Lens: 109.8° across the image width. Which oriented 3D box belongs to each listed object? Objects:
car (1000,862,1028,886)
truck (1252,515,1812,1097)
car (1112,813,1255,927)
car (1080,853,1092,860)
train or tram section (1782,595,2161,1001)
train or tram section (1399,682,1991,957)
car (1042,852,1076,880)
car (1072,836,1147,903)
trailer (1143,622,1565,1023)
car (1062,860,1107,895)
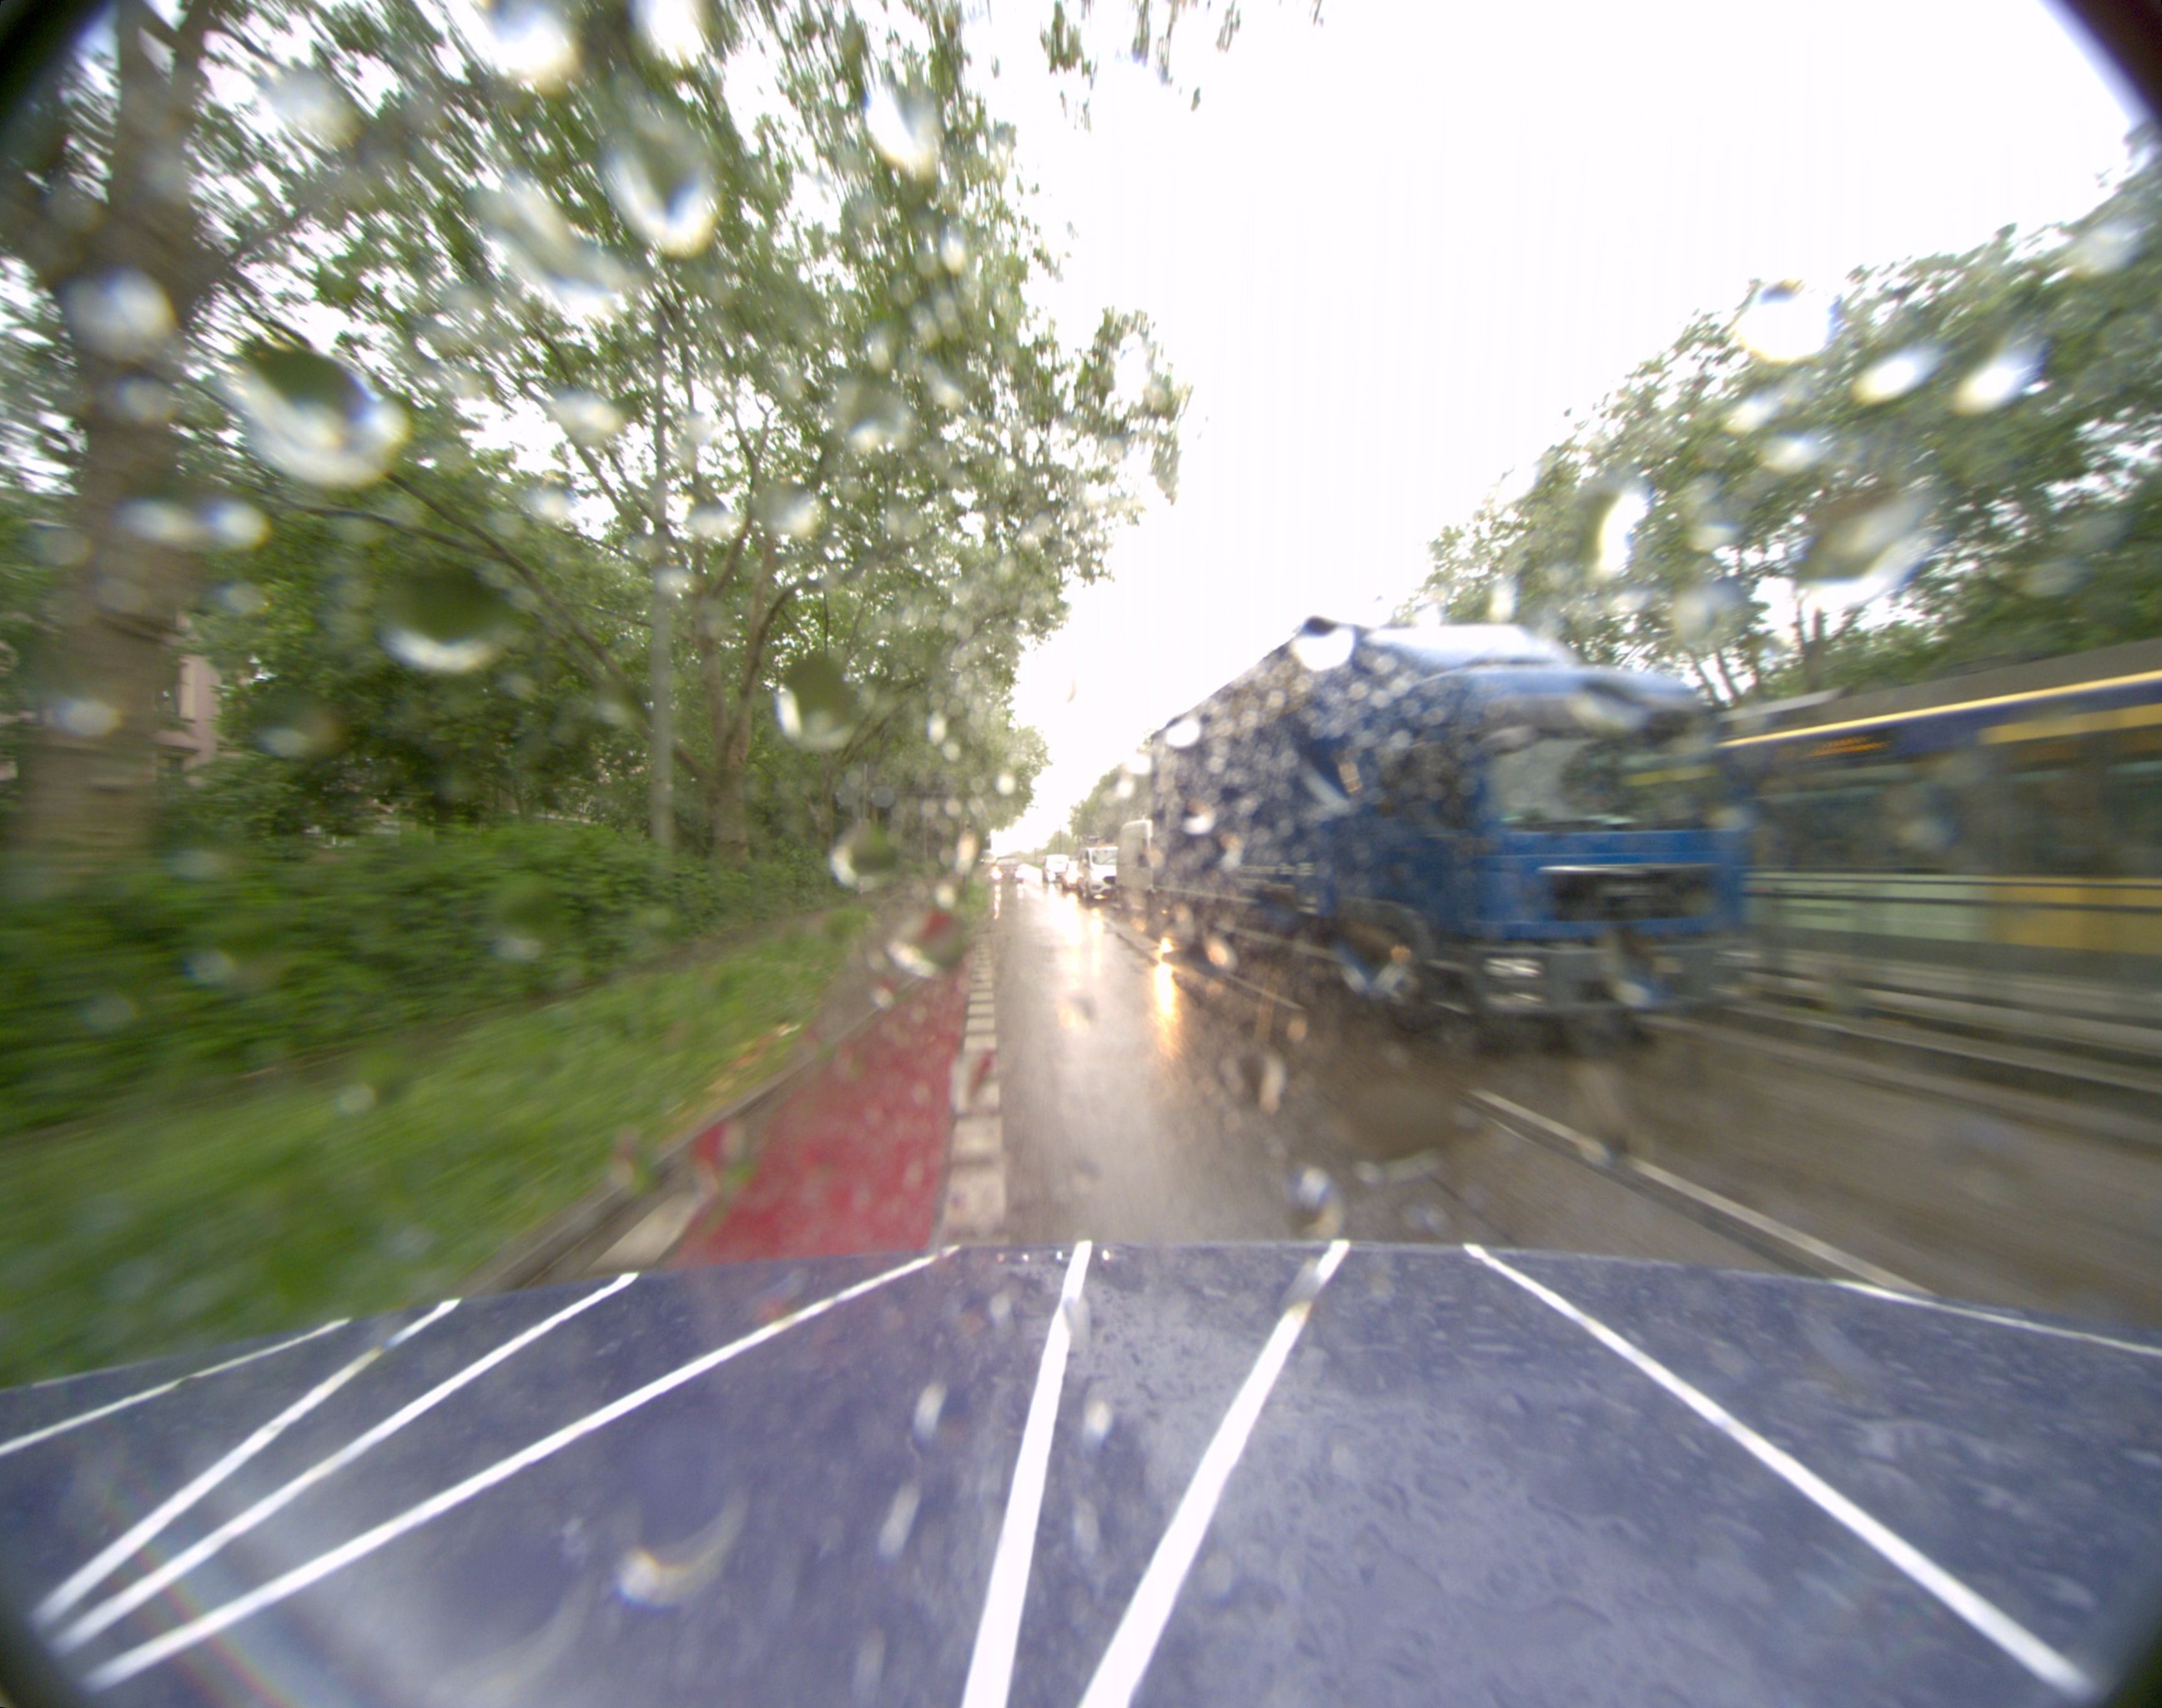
[{"bbox_3d":[-4.385,1.276,49.826,1.727,1.425,3.849,-1,0,-5],"label":"car"},{"bbox_3d":[3.627,-0.342,7.221,2.589,3.881,3.997,-2,0,-8],"label":"truck"},{"bbox_3d":[2.478,0.310,20.425,2.337,2.543,6.109,-2,1,-6],"label":"car"},{"bbox_3d":[1.098,0.660,173.533,2.040,1.543,4.381,0,0,-9],"label":"car"},{"bbox_3d":[10.337,-0.465,5.031,2.988,3.266,8.426,0,-1,-7],"label":"train or tram section"},{"bbox_3d":[9.253,-0.342,13.358,2.971,3.266,8.355,0,-1,-7],"label":"train or tram section"},{"bbox_3d":[-1.427,0.716,48.085,1.870,1.614,4.260,-2,1,-4],"label":"car"},{"bbox_3d":[0.951,0.482,28.804,2.000,2.249,5.284,-2,1,-6],"label":"car"},{"bbox_3d":[3.065,-0.328,11.303,2.598,3.877,7.630,-2,0,-8],"label":"trailer"},{"bbox_3d":[0.125,1.107,36.717,1.731,1.470,3.802,-1,1,-6],"label":"car"}]
